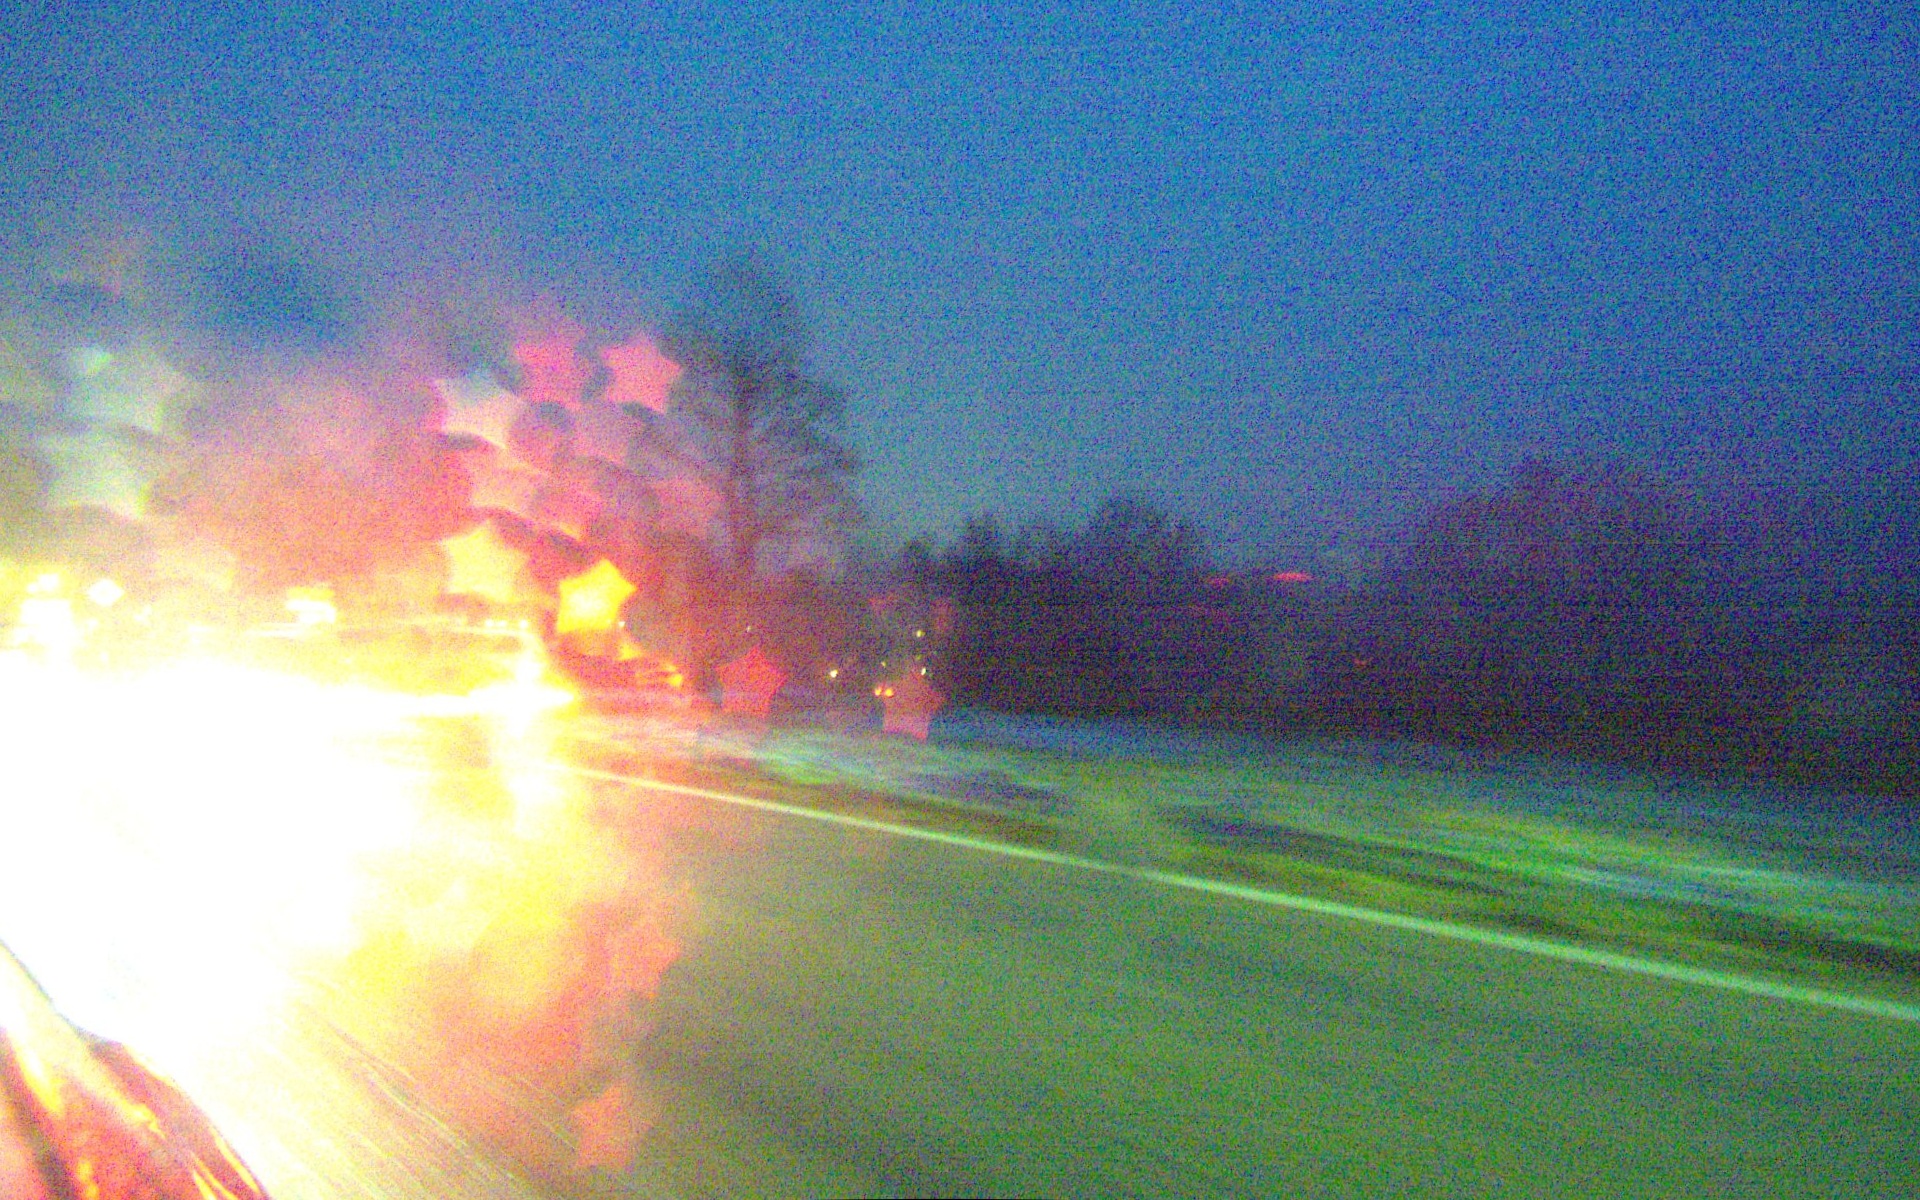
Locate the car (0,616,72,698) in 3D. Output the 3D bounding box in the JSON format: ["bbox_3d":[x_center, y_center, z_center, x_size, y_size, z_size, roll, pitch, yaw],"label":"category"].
[{"bbox_3d":[-19.585,1.138,20.686,3.558,1.572,1.645,-2,-3,41],"label":"car"}]

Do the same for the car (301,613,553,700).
[{"bbox_3d":[-12.519,1.376,24.054,1.934,1.852,4.879,-2,-5,43],"label":"car"}]

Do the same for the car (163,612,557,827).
[{"bbox_3d":[-5.484,0.878,8.967,4.486,1.416,1.737,-2,-1,42],"label":"car"}]
